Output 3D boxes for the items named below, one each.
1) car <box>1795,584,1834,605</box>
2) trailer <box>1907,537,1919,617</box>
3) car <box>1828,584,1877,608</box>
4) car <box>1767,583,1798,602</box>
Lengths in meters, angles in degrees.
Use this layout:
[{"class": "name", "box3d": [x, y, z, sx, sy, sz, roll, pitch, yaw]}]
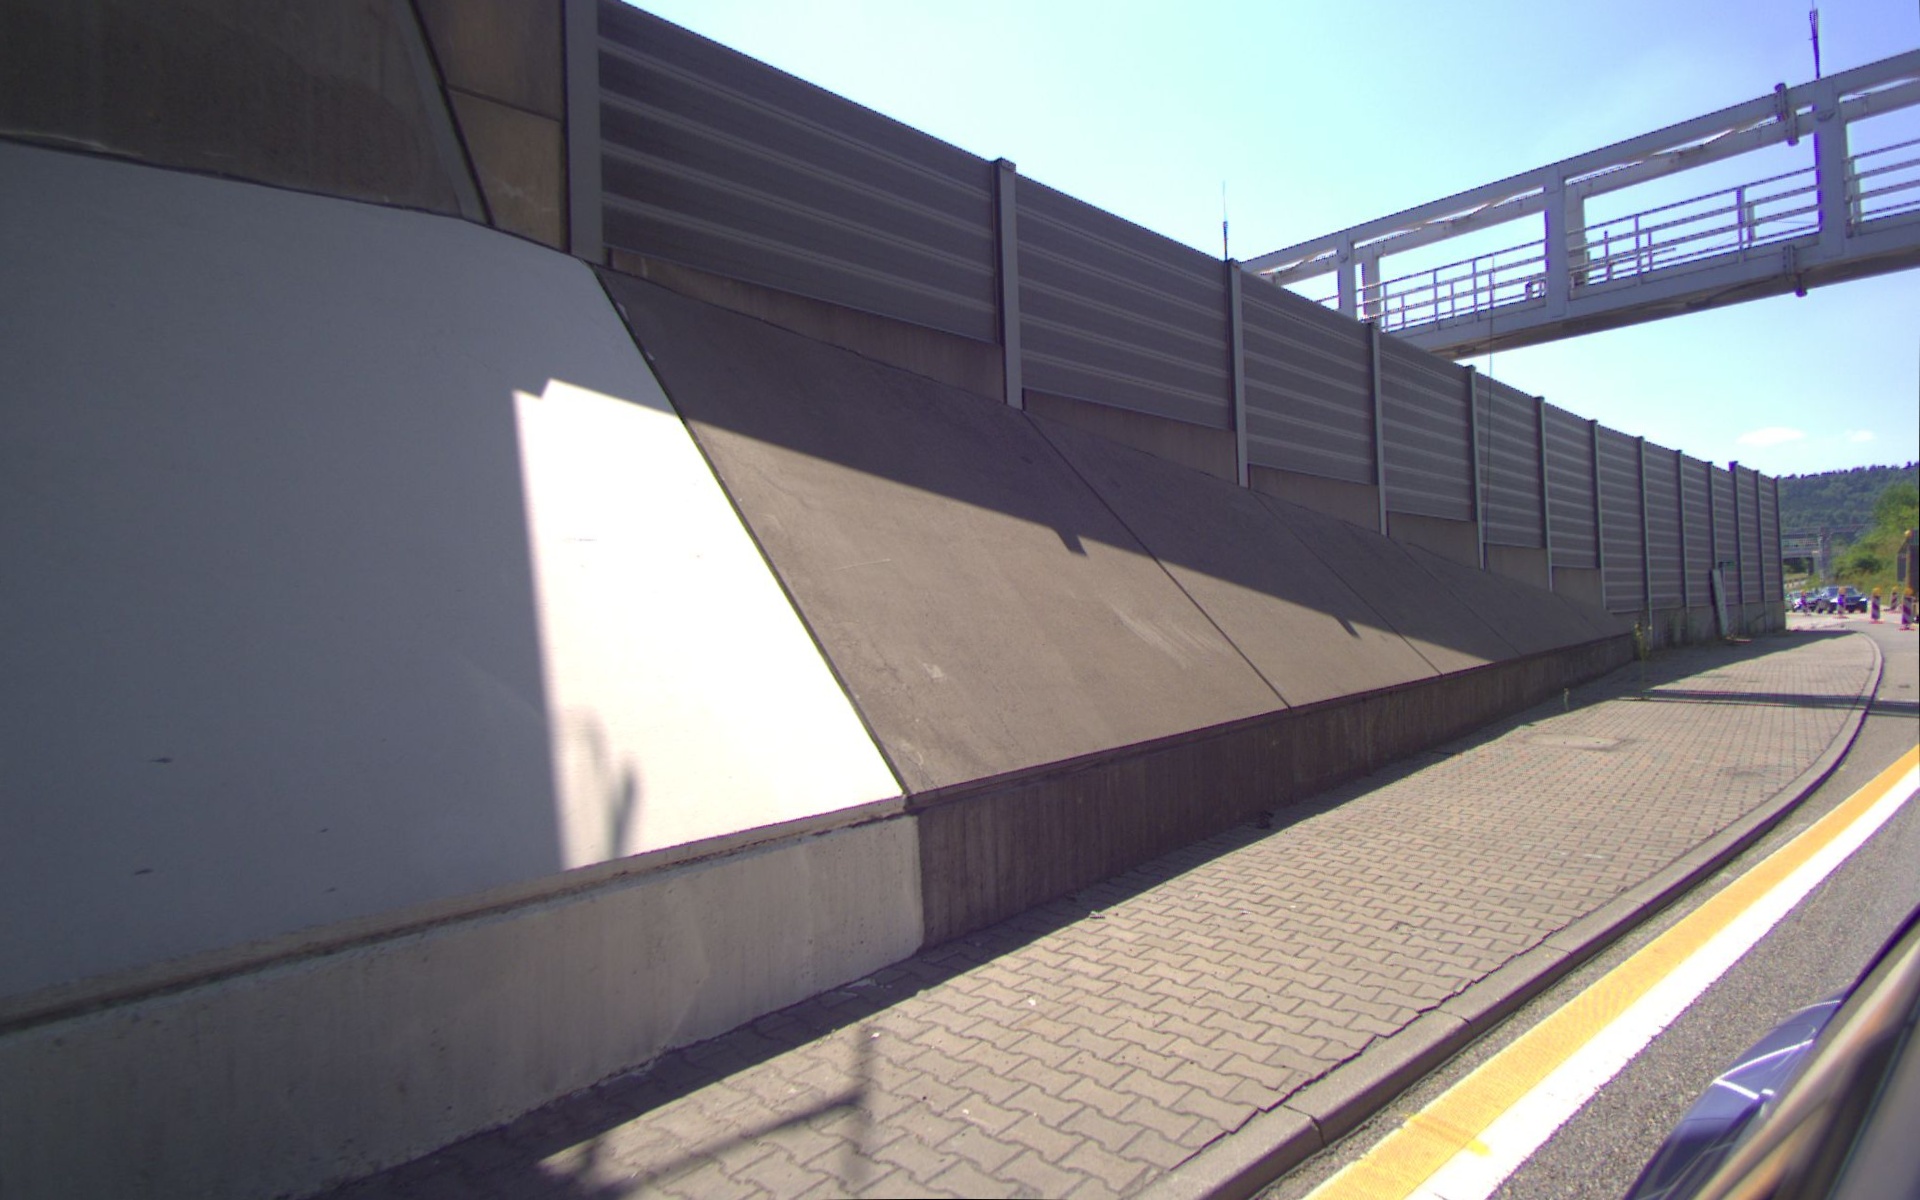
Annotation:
[{"class": "car", "box3d": [60.953, -0.429, 72.248, 1.464, 1.466, 4.312, 0, 1, 31]}, {"class": "trailer", "box3d": [43.345, -1.123, 42.646, 3.221, 3.715, 17.181, -5, -3, 38]}, {"class": "car", "box3d": [54.854, -0.262, 62.256, 1.464, 1.466, 4.312, 0, 1, 31]}, {"class": "car", "box3d": [65.735, -0.635, 80.920, 1.465, 1.466, 4.309, 0, 1, 33]}]
